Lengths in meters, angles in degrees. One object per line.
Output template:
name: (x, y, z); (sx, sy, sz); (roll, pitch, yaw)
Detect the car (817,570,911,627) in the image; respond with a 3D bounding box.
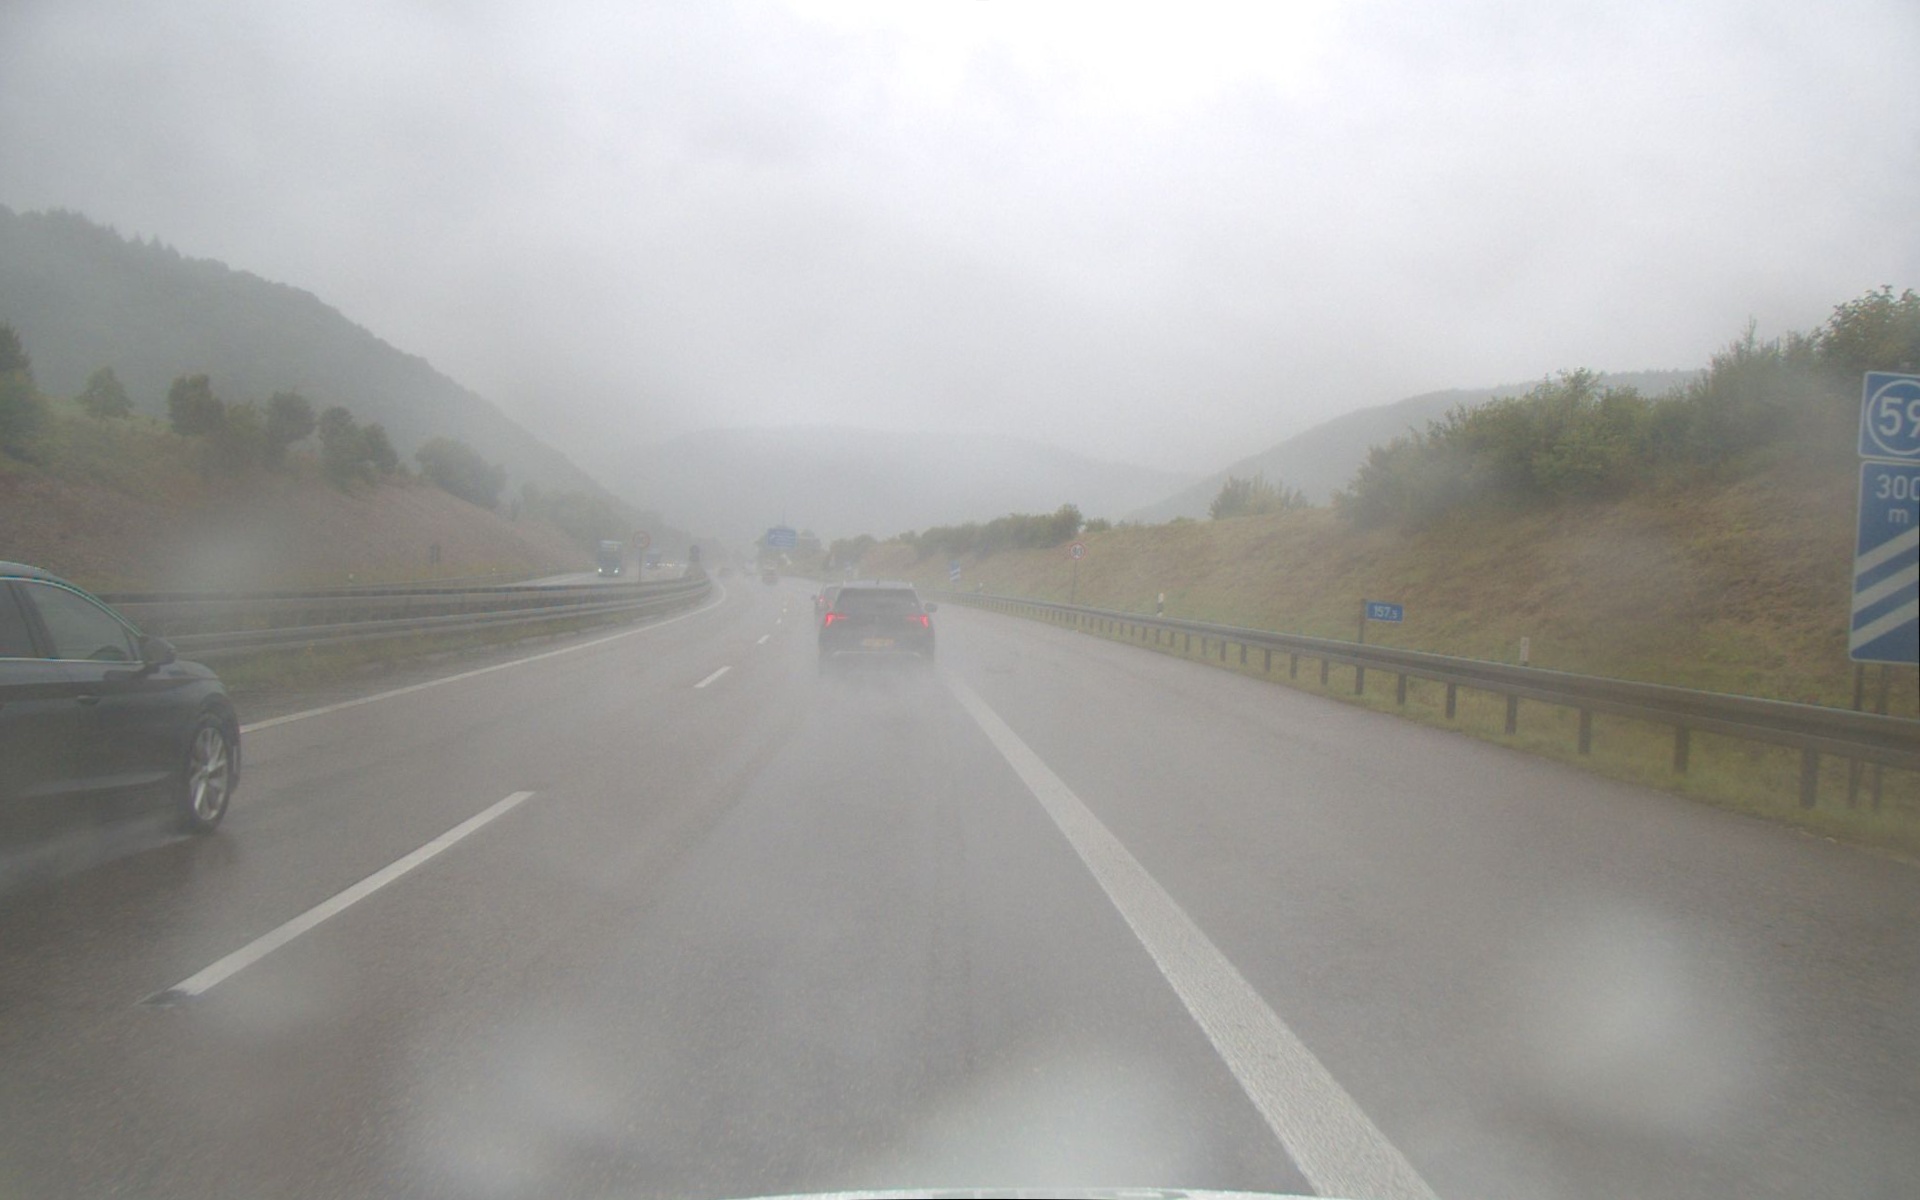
car: (-3.020, -0.037, 50.763); (2.614, 1.542, 5.710); (2, 0, -6)

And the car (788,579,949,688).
car: (-1.439, 0.521, 27.257); (2.357, 1.542, 4.782); (2, -1, -2)

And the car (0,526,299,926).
car: (-5.156, 0.515, 8.244); (1.954, 1.712, 4.907); (0, 2, -3)
